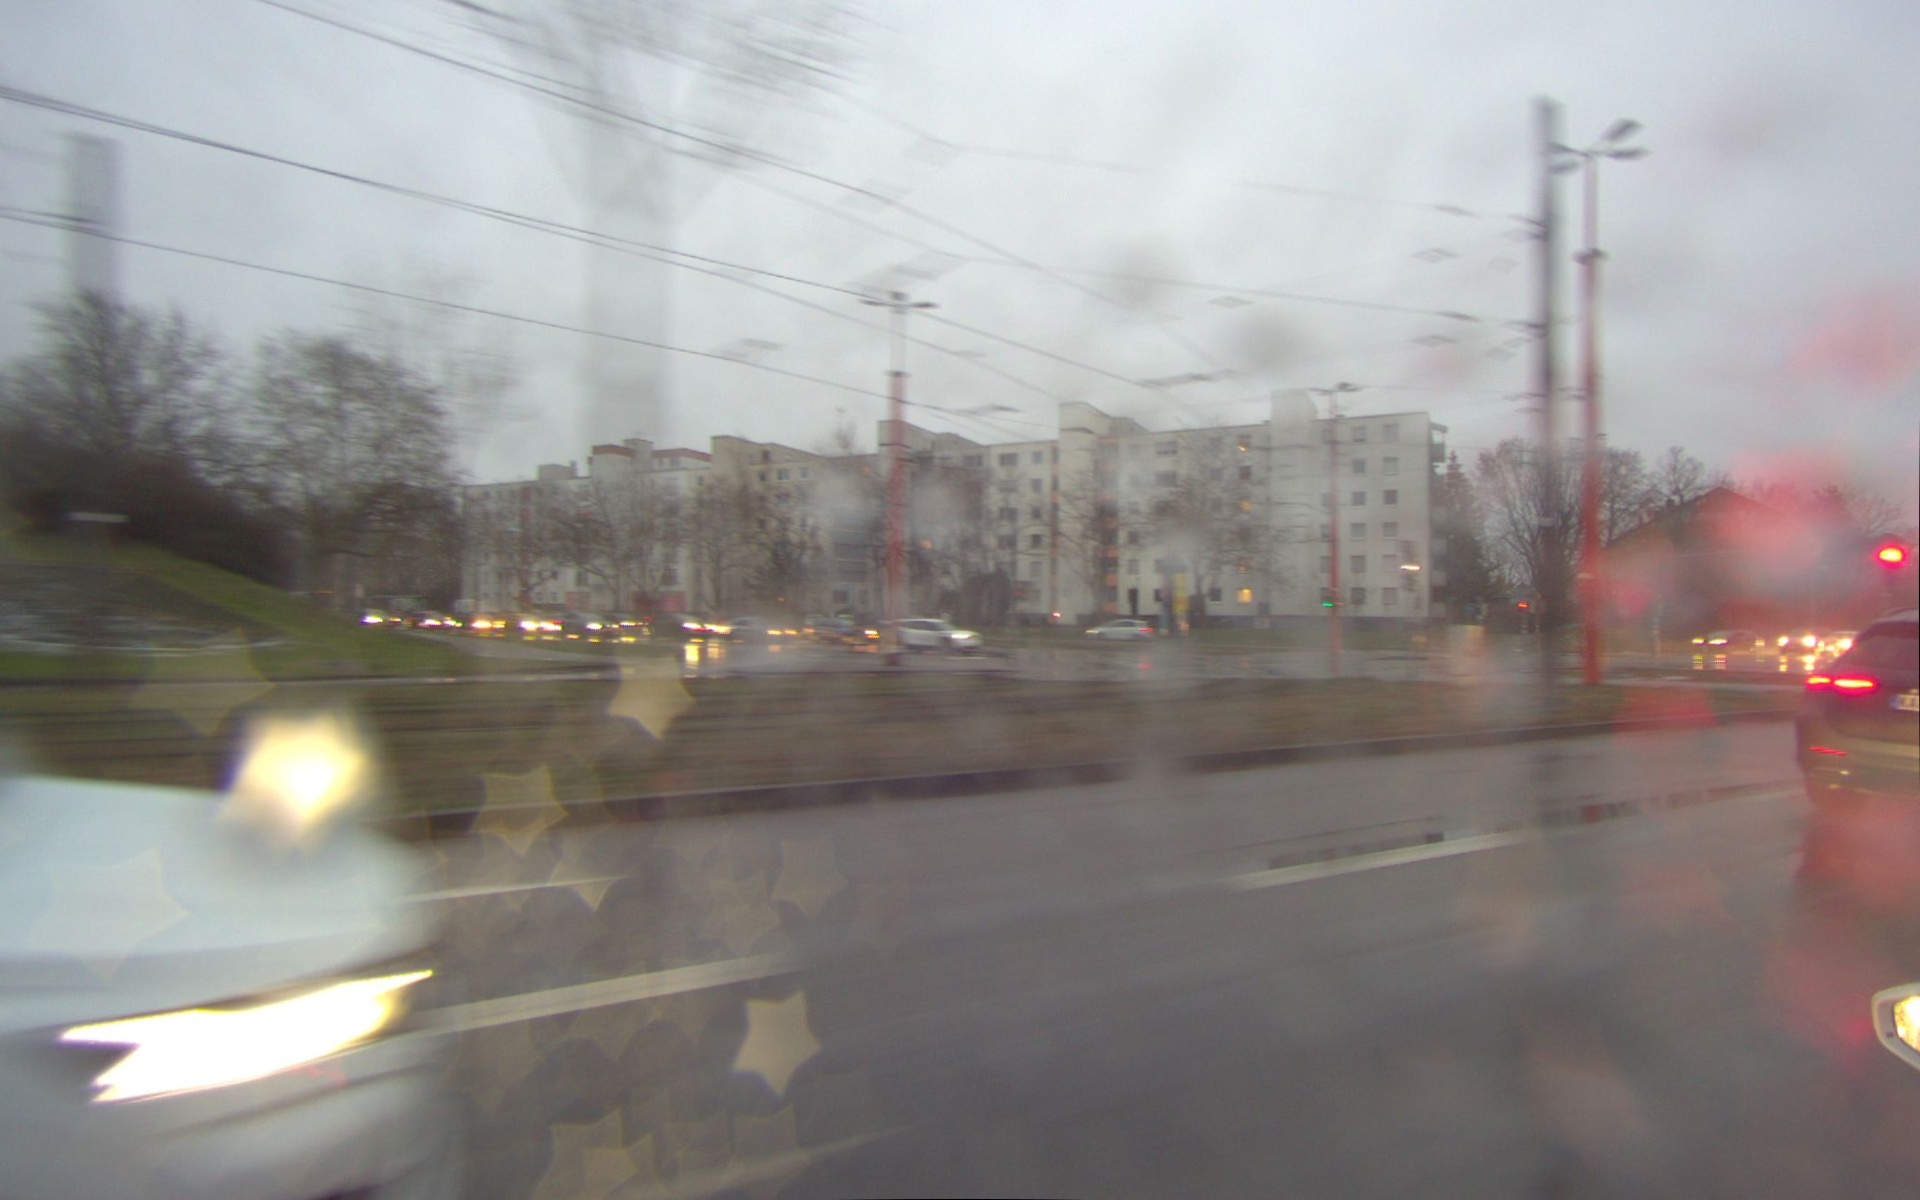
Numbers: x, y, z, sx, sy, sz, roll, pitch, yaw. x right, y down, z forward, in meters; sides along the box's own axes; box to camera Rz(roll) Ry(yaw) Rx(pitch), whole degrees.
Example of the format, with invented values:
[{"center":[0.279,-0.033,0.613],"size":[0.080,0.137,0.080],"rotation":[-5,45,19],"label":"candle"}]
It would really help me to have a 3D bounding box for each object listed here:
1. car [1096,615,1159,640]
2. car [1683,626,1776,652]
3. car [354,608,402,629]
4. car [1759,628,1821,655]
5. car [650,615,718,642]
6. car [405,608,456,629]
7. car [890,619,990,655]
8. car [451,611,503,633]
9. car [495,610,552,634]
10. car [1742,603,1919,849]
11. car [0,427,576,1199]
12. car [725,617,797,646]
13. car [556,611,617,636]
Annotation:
[{"center":[11.468,1.893,68.826],"size":[3.926,1.661,1.535],"rotation":[0,-1,27],"label":"car"},{"center":[50.151,2.524,65.544],"size":[4.394,1.550,2.001],"rotation":[1,-1,8],"label":"car"},{"center":[-45.885,1.454,79.171],"size":[3.913,1.565,1.708],"rotation":[0,-1,33],"label":"car"},{"center":[49.134,2.416,59.446],"size":[3.970,1.515,1.610],"rotation":[1,-1,-31],"label":"car"},{"center":[-16.485,1.675,59.941],"size":[3.932,1.565,1.708],"rotation":[0,-1,33],"label":"car"},{"center":[-39.654,1.393,75.182],"size":[3.913,1.565,1.708],"rotation":[0,-1,33],"label":"car"},{"center":[-0.967,1.705,46.519],"size":[4.365,1.565,1.847],"rotation":[0,-1,33],"label":"car"},{"center":[-34.659,1.564,72.048],"size":[3.760,1.565,1.708],"rotation":[0,-1,33],"label":"car"},{"center":[-29.932,1.502,68.911],"size":[3.932,1.565,1.708],"rotation":[0,-1,33],"label":"car"},{"center":[8.353,0.905,8.038],"size":[4.414,1.670,1.814],"rotation":[1,-1,-30],"label":"car"},{"center":[-2.865,0.575,1.465],"size":[4.097,1.670,1.706],"rotation":[1,-1,-30],"label":"car"},{"center":[-11.213,1.755,56.532],"size":[3.932,1.565,1.708],"rotation":[0,-1,33],"label":"car"},{"center":[-24.192,1.511,65.071],"size":[3.932,1.565,1.708],"rotation":[0,-1,33],"label":"car"}]
